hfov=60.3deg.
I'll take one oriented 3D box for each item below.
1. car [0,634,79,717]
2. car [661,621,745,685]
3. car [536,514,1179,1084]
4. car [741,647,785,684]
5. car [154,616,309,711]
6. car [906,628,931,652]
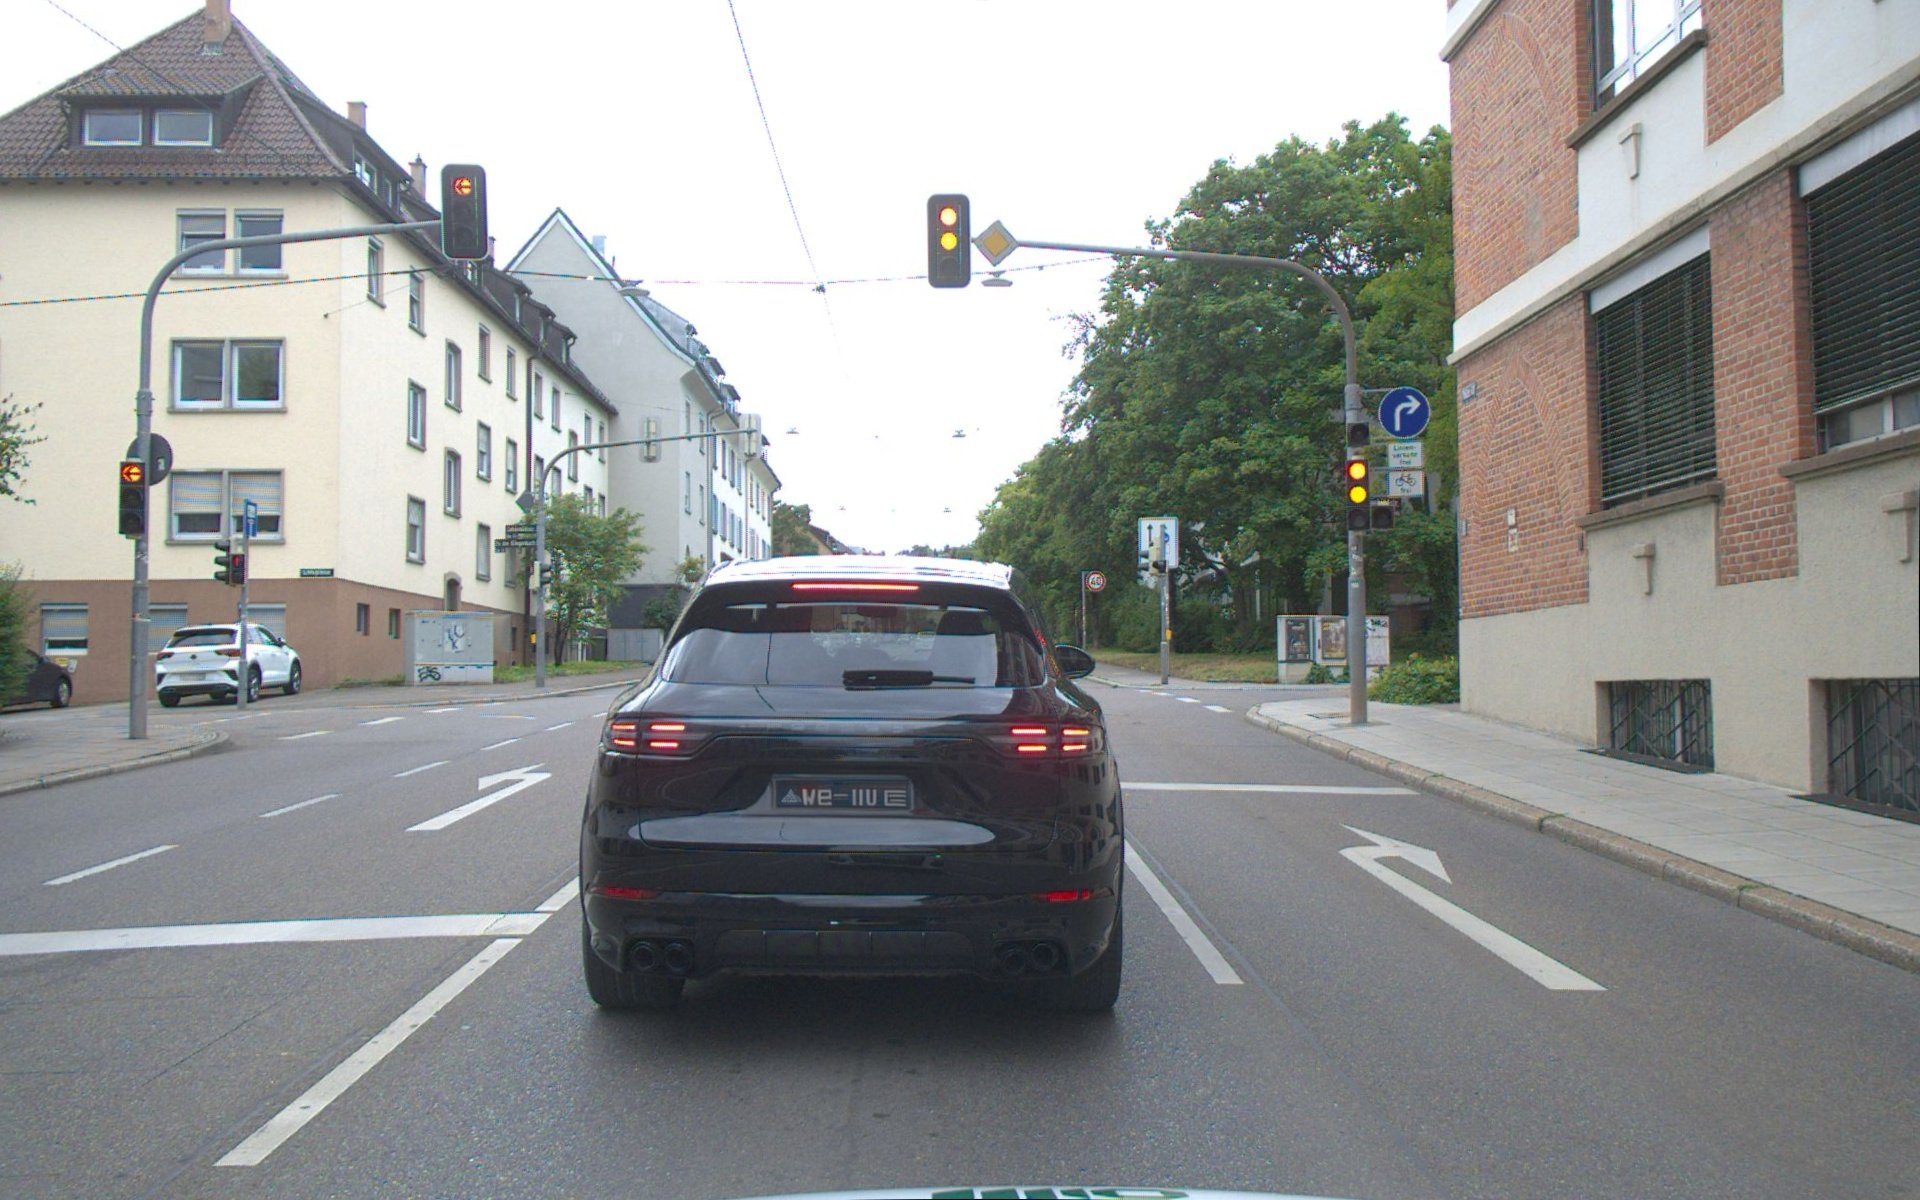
[{"bbox_3d":[-19.728,1.557,33.431,1.636,1.573,4.100,-3,0,-1],"label":"car"},{"bbox_3d":[-6.997,1.408,45.355,1.630,1.545,3.739,-4,0,0],"label":"car"},{"bbox_3d":[-0.338,0.623,7.094,1.953,1.726,3.999,1,0,-1],"label":"car"},{"bbox_3d":[-8.238,2.735,69.439,1.637,1.386,3.997,0,0,-4],"label":"car"},{"bbox_3d":[-14.763,1.237,33.745,1.637,1.691,3.995,-3,0,-5],"label":"car"},{"bbox_3d":[-2.938,2.838,117.495,1.654,1.579,3.886,1,0,-3],"label":"car"}]
